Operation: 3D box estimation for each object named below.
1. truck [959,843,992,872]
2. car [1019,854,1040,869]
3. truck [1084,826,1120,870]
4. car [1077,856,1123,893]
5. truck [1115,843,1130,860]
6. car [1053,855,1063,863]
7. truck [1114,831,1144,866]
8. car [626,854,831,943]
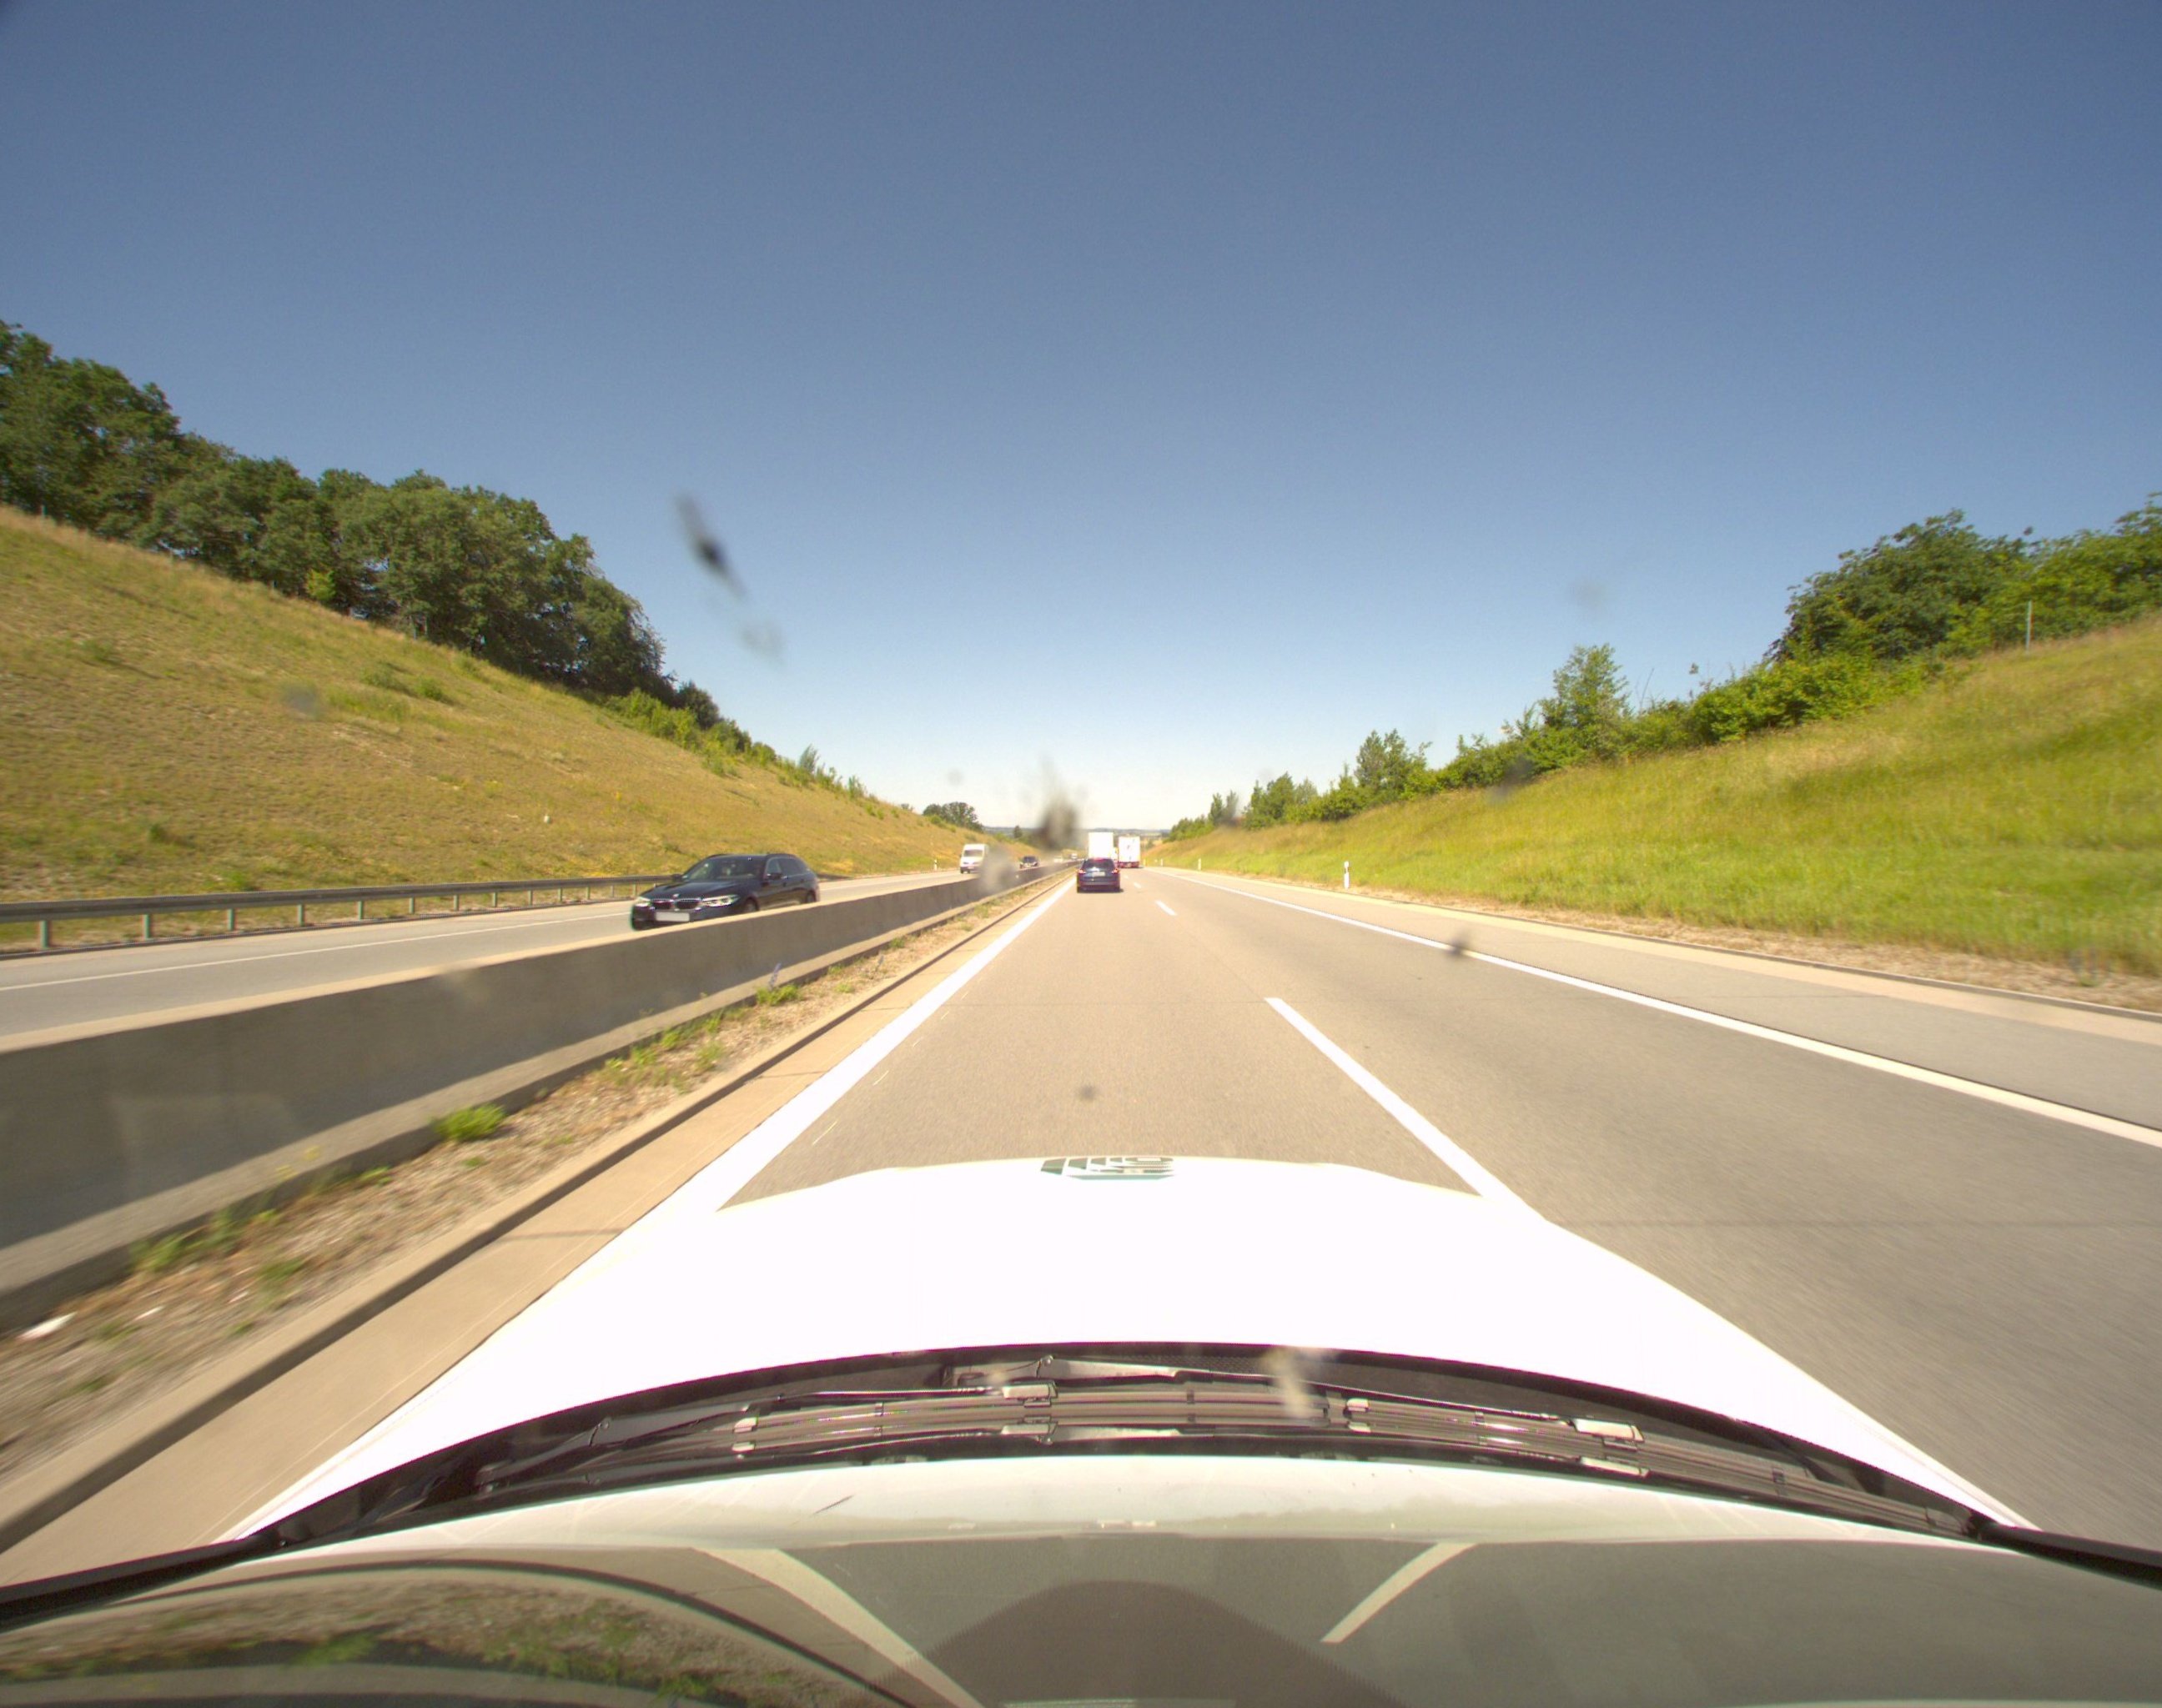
[{"bbox_3d":[-9.269,0.301,71.840,2.105,2.460,5.951,0,0,0],"label":"truck"},{"bbox_3d":[-5.357,0.786,85.539,1.847,1.461,4.333,0,0,1],"label":"car"},{"bbox_3d":[2.368,-0.613,87.060,3.196,4.381,11.247,0,0,4],"label":"truck"},{"bbox_3d":[0.773,0.822,34.130,1.771,1.441,3.788,-1,0,0],"label":"car"},{"bbox_3d":[10.676,-0.652,210.005,3.588,4.381,11.245,0,0,4],"label":"truck"},{"bbox_3d":[-4.387,0.911,154.479,1.769,1.601,4.040,0,0,1],"label":"car"},{"bbox_3d":[6.335,-0.660,106.332,3.588,4.381,11.245,0,0,4],"label":"truck"},{"bbox_3d":[-6.561,0.731,15.856,1.847,1.461,4.769,0,0,1],"label":"car"}]
